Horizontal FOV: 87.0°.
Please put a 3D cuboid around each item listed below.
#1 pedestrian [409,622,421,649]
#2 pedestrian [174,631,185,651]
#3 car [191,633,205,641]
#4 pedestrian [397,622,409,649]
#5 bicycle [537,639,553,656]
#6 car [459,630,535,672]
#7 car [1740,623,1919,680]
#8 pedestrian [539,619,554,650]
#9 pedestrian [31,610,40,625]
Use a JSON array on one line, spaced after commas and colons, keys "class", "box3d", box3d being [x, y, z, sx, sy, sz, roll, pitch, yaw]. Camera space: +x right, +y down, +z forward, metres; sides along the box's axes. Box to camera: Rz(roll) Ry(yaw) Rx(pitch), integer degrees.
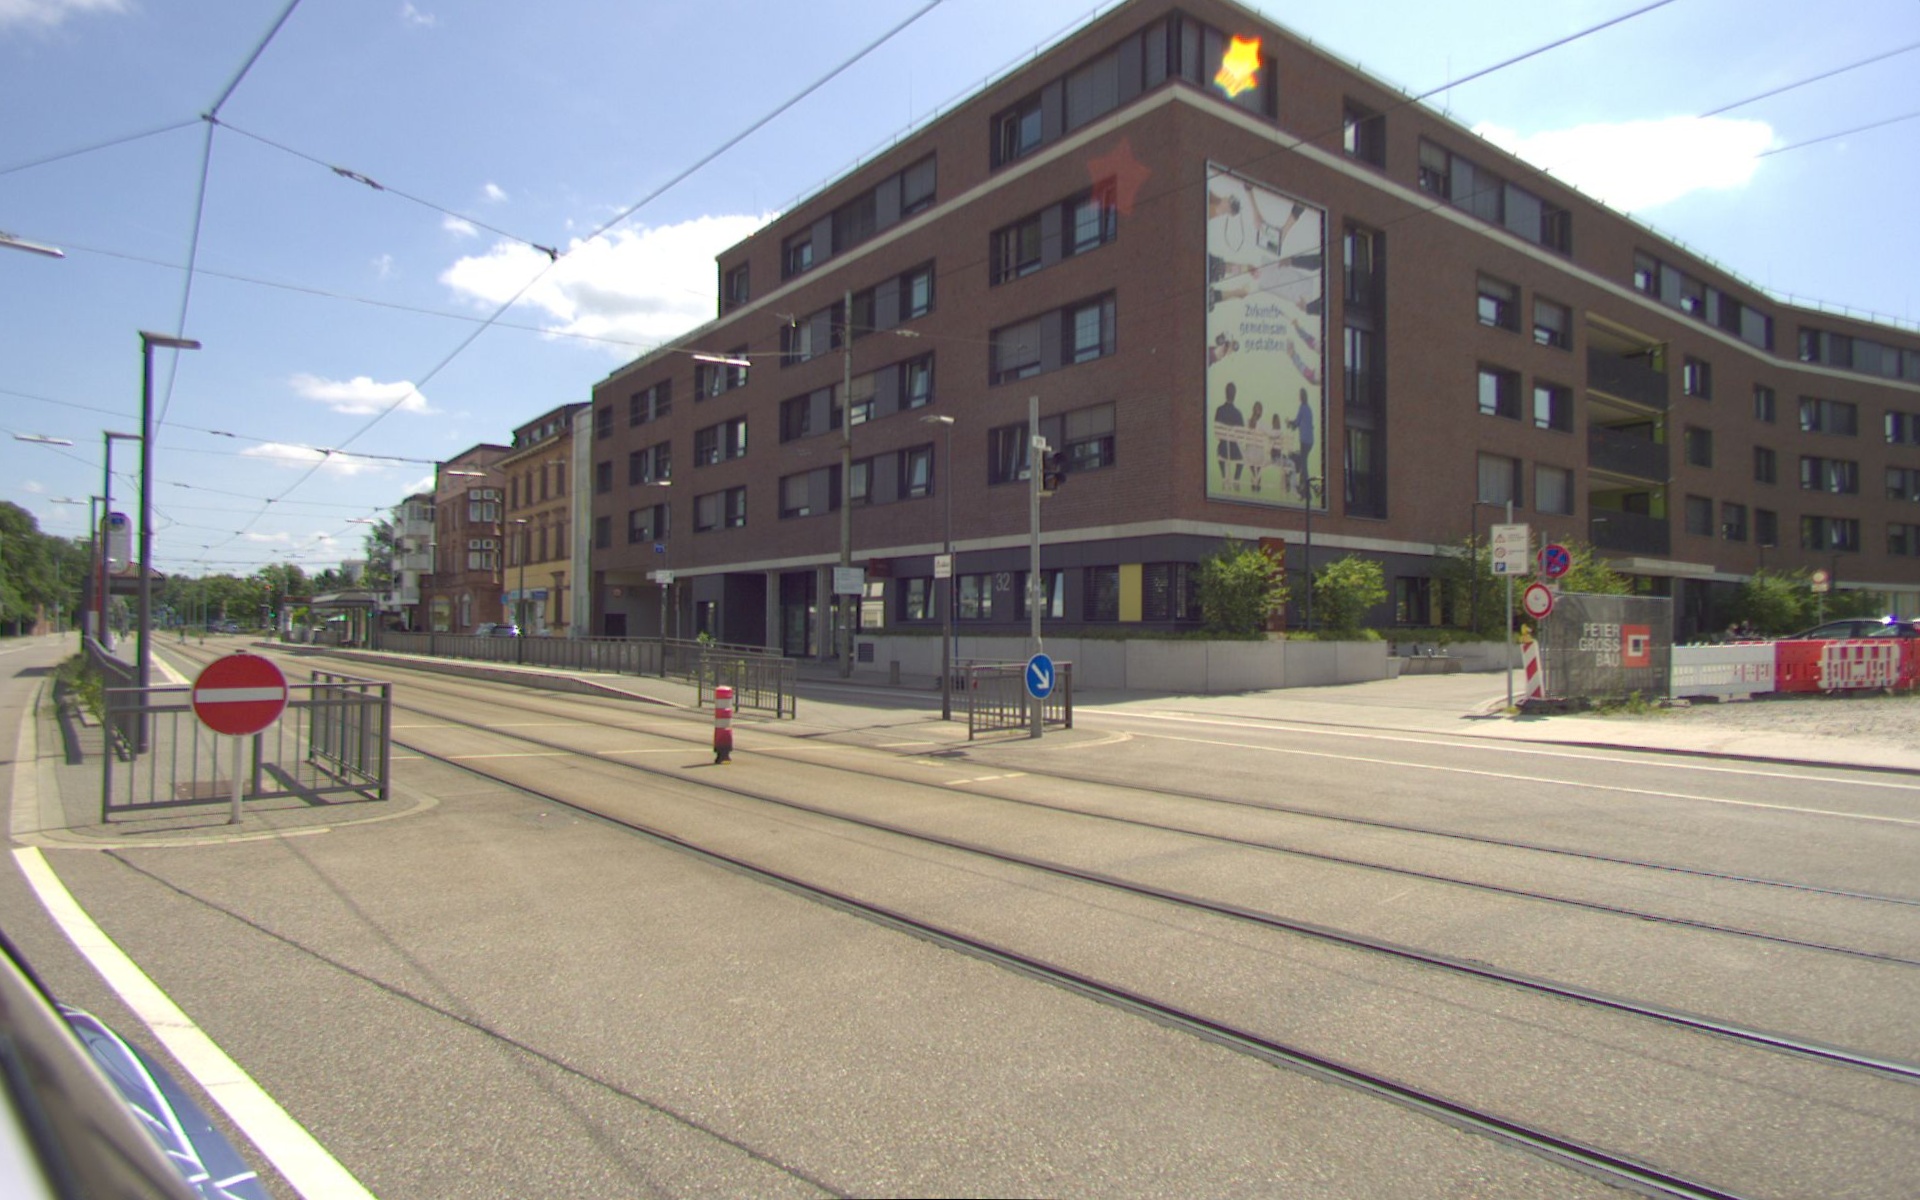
[{"class": "pedestrian", "box3d": [-41.531, 2.699, 77.051, 0.610, 2.029, 0.811, 1, -2, -42]}, {"class": "pedestrian", "box3d": [-62.526, 3.278, 81.092, 0.569, 1.568, 0.787, 4, -3, -36]}, {"class": "car", "box3d": [-151.730, 7.358, 201.493, 1.968, 1.482, 4.408, 2, -3, -40]}, {"class": "pedestrian", "box3d": [-42.159, 2.652, 76.588, 0.668, 2.029, 0.686, 1, -1, -42]}, {"class": "bicycle", "box3d": [-18.774, 2.145, 45.742, 0.288, 0.767, 1.189, 4, -3, -39]}, {"class": "car", "box3d": [-19.763, 2.159, 43.117, 1.814, 1.640, 3.777, 4, -3, -42]}, {"class": "car", "box3d": [22.983, 1.299, 26.370, 1.603, 1.390, 3.917, 1, -2, -38]}, {"class": "pedestrian", "box3d": [-18.719, 1.563, 45.814, 0.430, 1.395, 0.537, 4, -3, -40]}, {"class": "pedestrian", "box3d": [-109.213, 2.069, 119.554, 0.755, 1.866, 0.718, 2, -3, -43]}]
